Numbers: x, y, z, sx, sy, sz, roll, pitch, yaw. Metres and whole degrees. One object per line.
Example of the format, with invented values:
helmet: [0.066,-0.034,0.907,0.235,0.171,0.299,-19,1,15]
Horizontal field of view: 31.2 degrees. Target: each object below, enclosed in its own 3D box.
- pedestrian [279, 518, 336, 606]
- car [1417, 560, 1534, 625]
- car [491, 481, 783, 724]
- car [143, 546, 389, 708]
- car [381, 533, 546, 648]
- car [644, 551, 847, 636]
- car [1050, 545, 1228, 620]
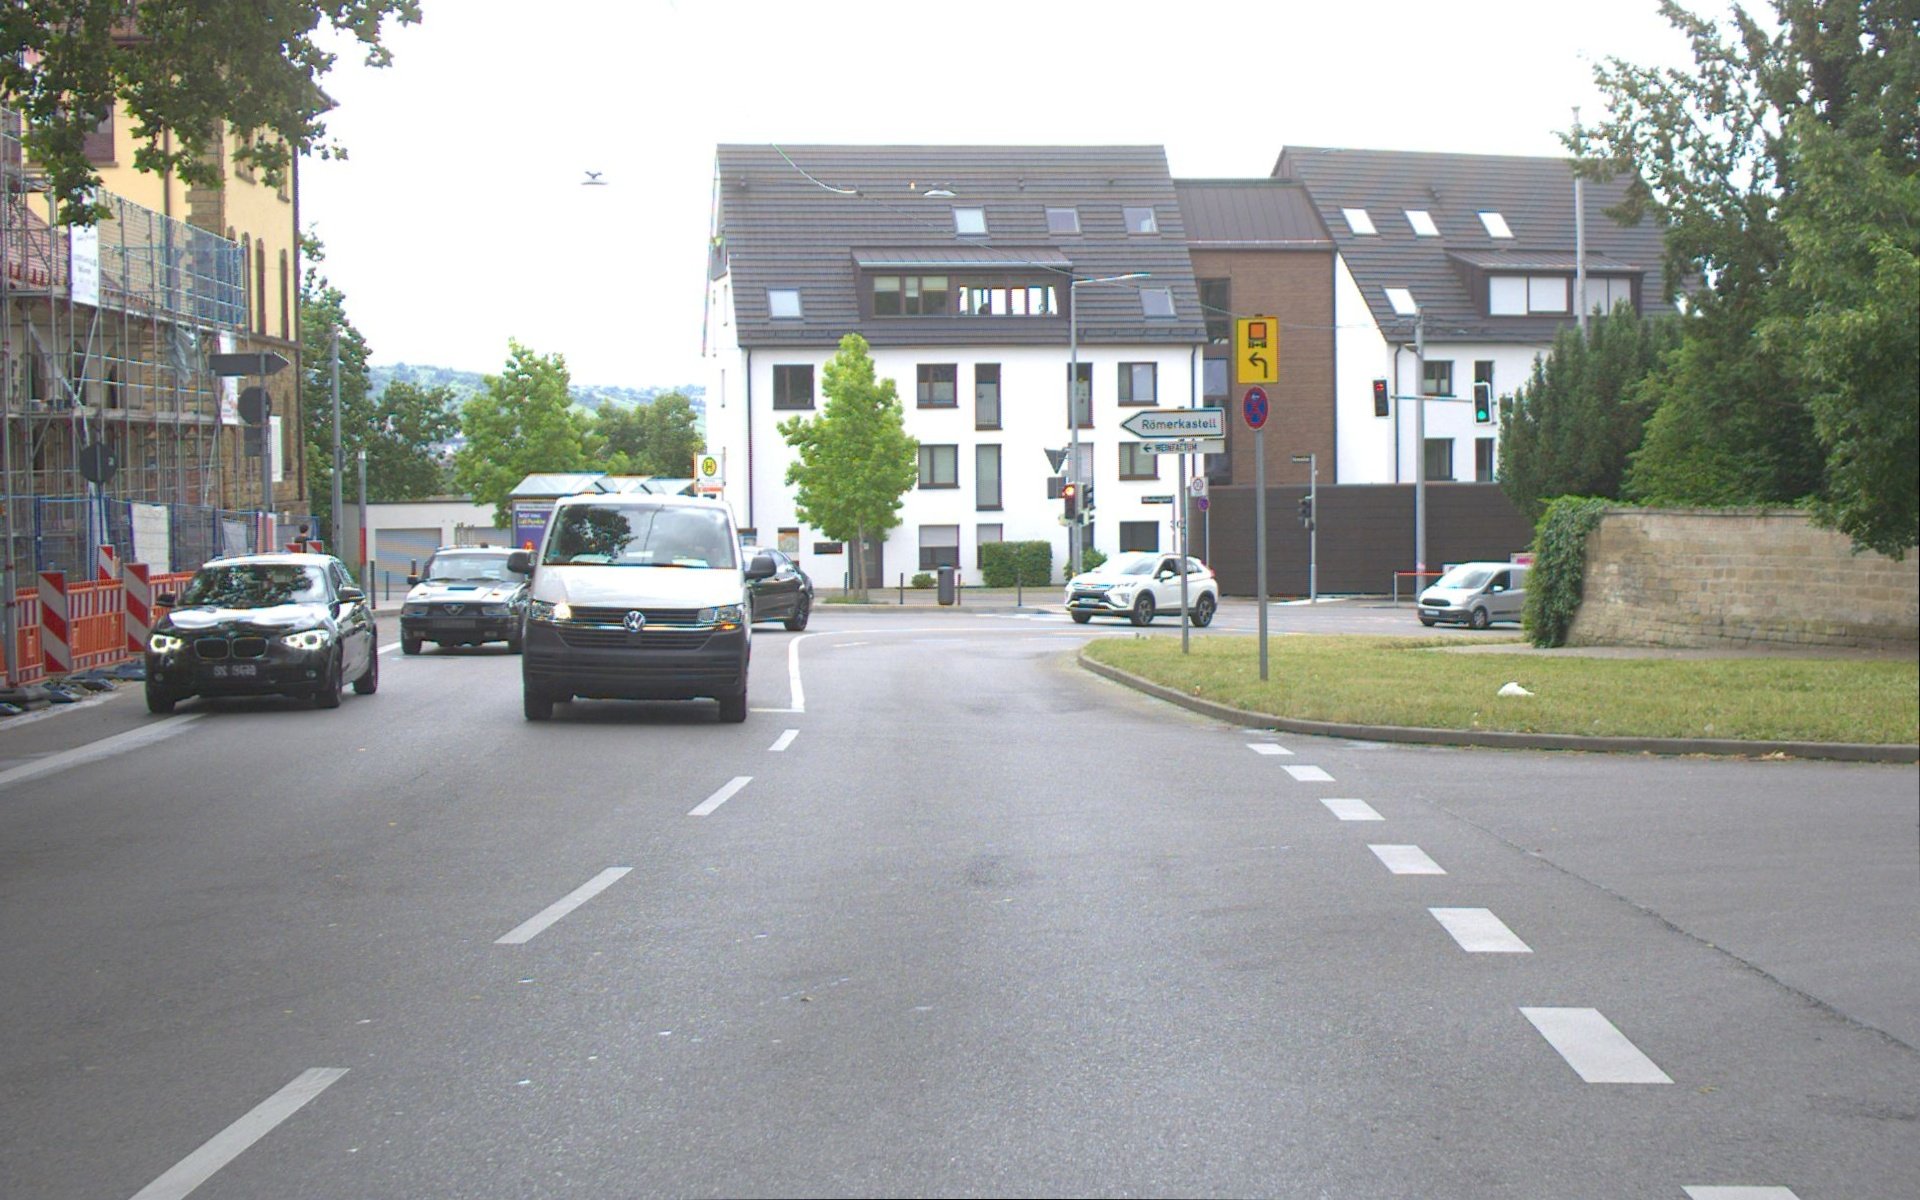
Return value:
pedestrian: [-12.866,-0.746,67.784,0.923,1.714,0.798,2,0,0]
car: [13.463,-0.194,89.618,1.695,1.608,4.076,2,0,28]
car: [-2.746,-0.027,30.437,2.205,1.924,5.241,-1,1,-2]
car: [-6.596,0.206,33.063,1.699,1.421,4.250,-1,1,-3]
car: [-6.689,-0.162,46.720,1.801,1.453,4.636,-1,1,-3]
car: [-3.711,-0.139,60.185,1.701,1.421,4.243,1,1,25]
car: [4.090,-0.376,77.924,1.795,1.605,4.498,0,-1,37]
